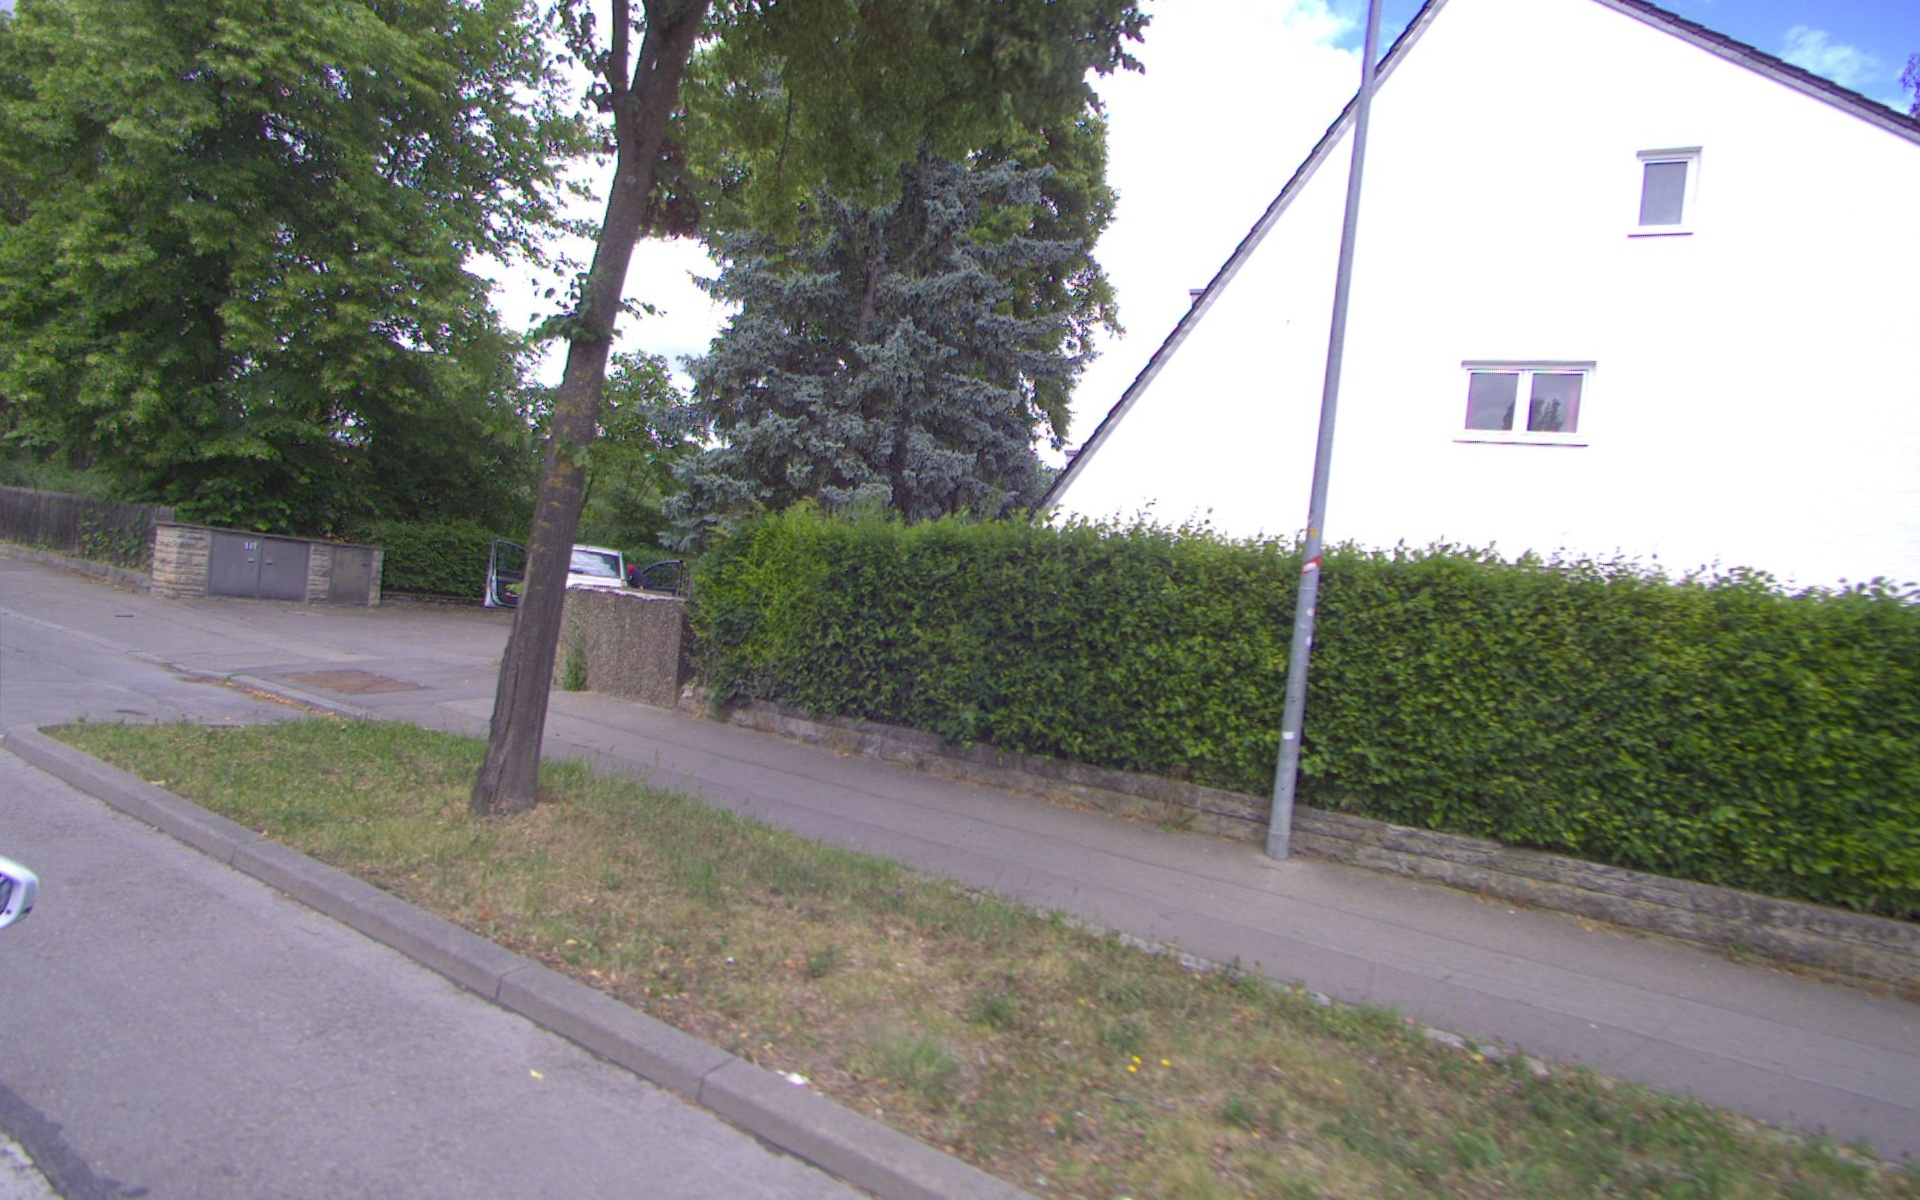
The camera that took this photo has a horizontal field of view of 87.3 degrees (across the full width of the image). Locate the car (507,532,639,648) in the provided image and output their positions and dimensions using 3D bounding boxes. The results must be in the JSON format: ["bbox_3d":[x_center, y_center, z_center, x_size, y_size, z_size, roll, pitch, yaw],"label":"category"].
[{"bbox_3d":[-6.925,-0.207,18.358,1.789,1.681,3.985,7,0,-17],"label":"car"}]
